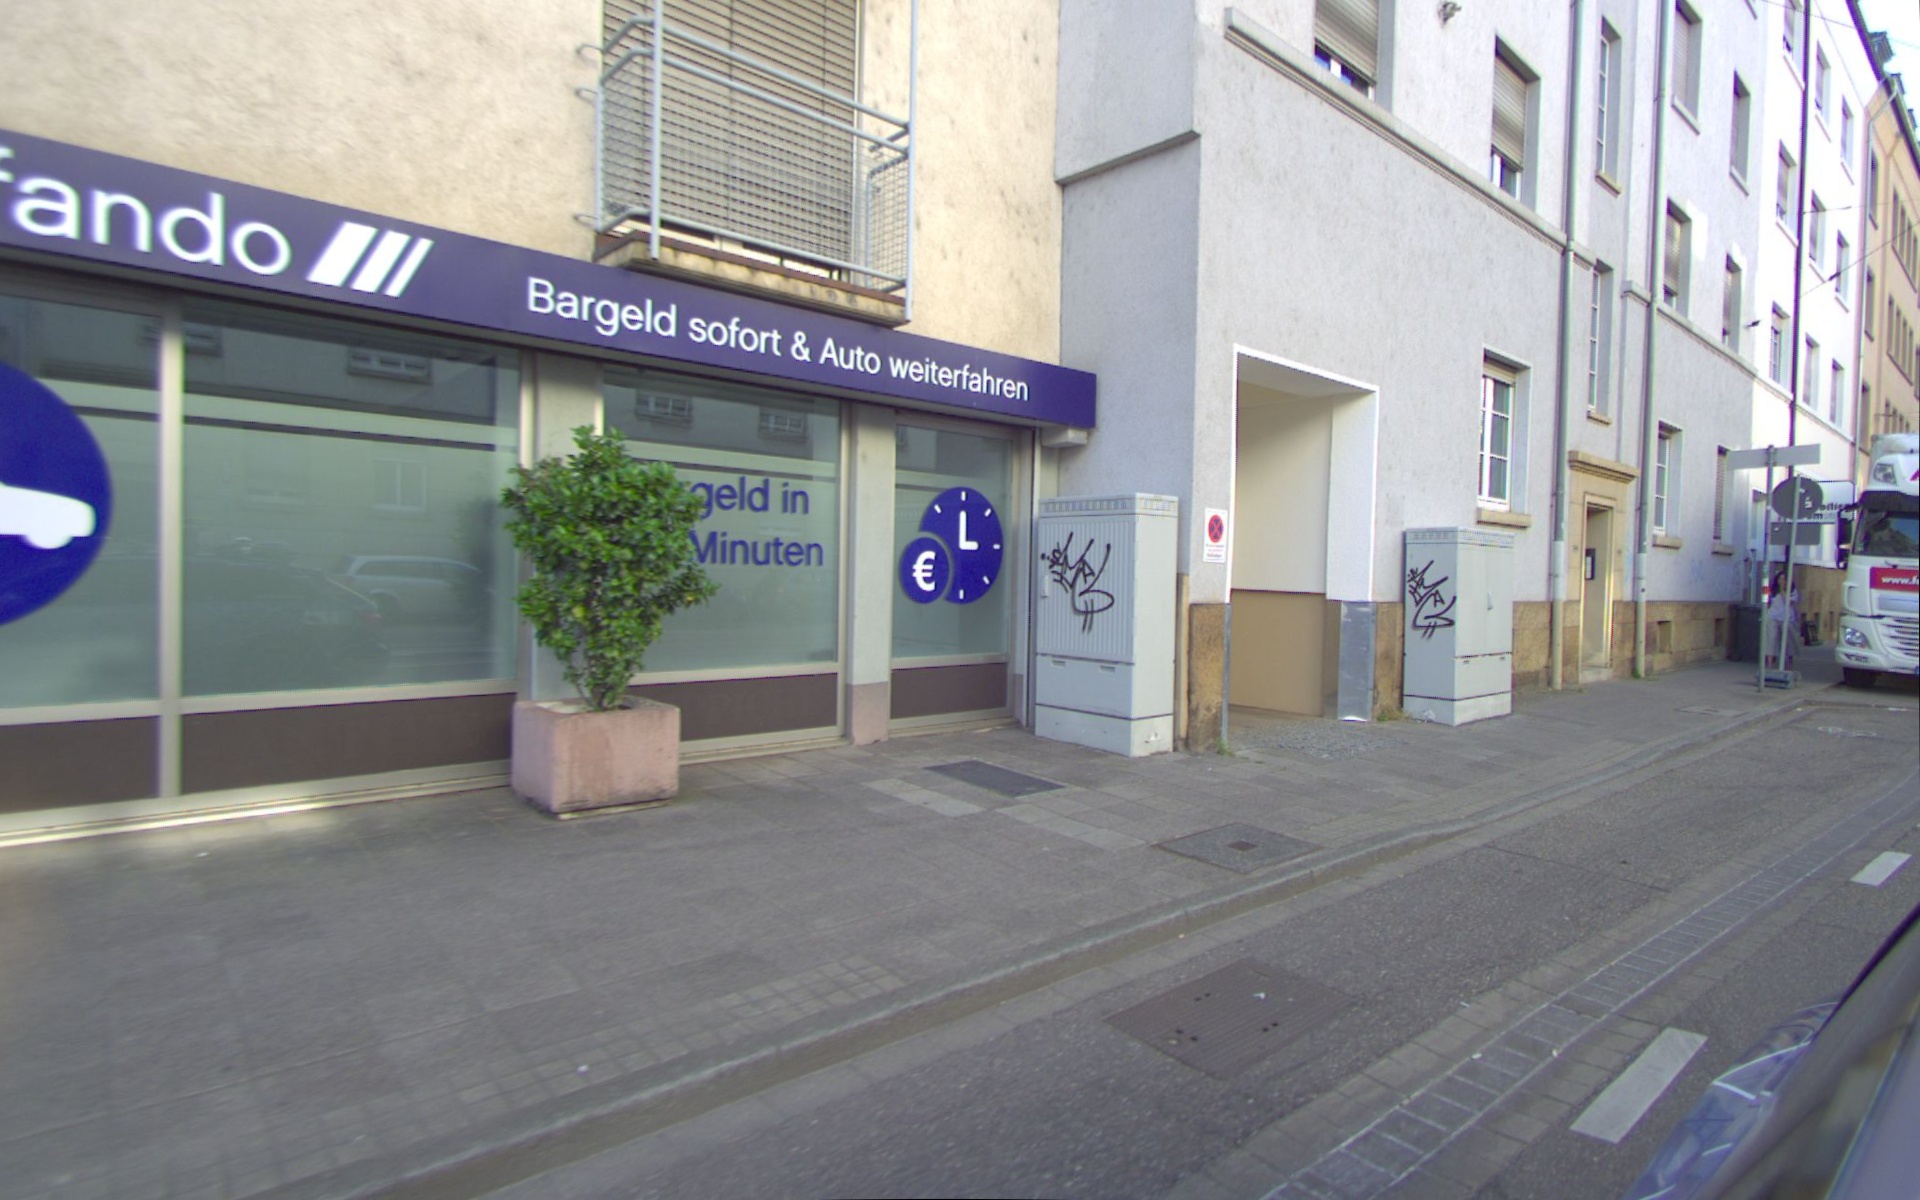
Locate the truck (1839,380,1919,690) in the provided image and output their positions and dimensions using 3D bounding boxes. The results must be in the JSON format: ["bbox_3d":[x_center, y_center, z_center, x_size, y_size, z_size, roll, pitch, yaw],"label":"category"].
[{"bbox_3d":[18.063,-1.014,17.377,11.571,4.290,2.699,-2,3,-40],"label":"truck"}]

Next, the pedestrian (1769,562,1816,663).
[{"bbox_3d":[13.955,0.195,16.964,0.459,1.649,0.475,-1,2,-39],"label":"pedestrian"}]
